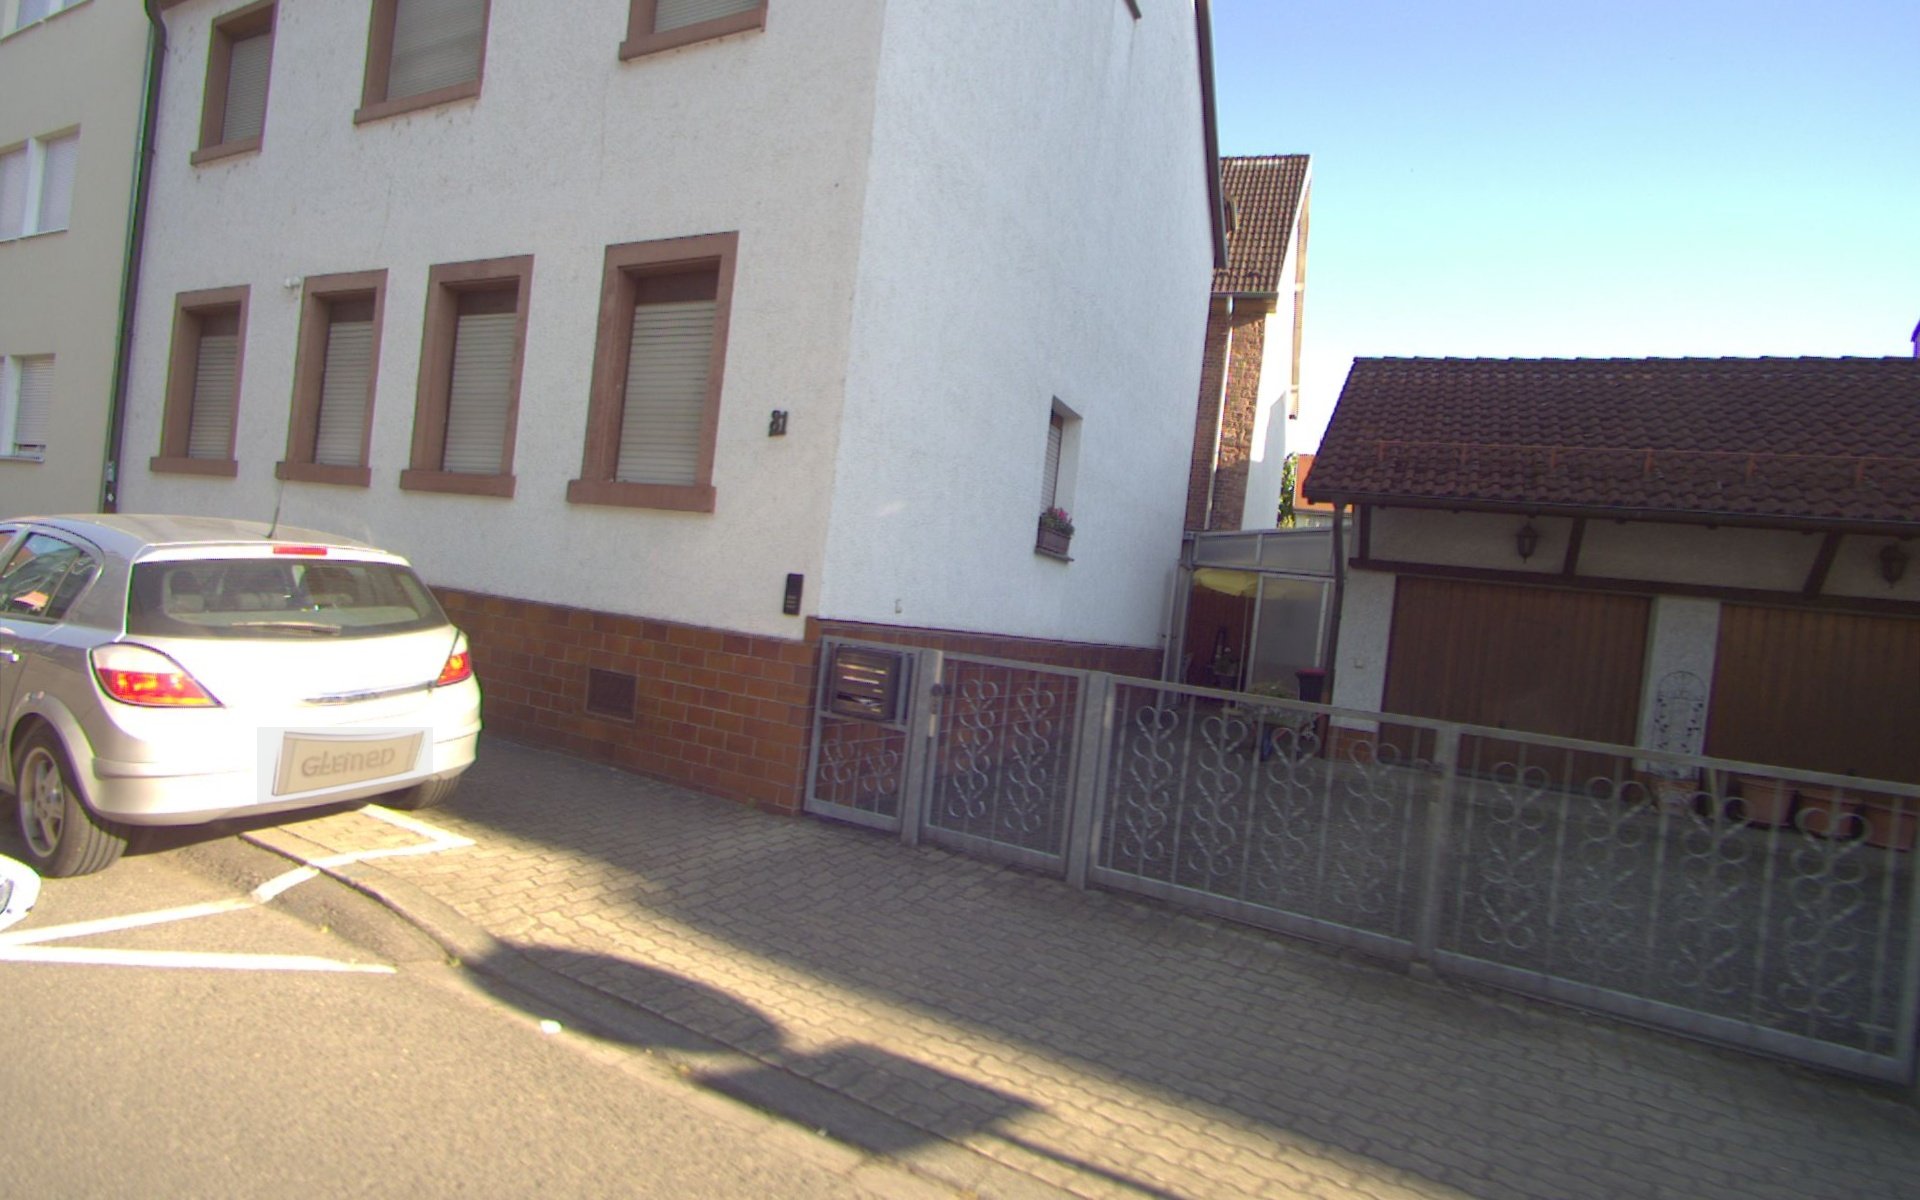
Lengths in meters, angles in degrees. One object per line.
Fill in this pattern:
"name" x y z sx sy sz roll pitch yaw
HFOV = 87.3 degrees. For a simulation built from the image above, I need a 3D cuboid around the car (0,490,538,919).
"car" -4.523 0.249 5.454 4.363 1.511 1.743 6 0 30
